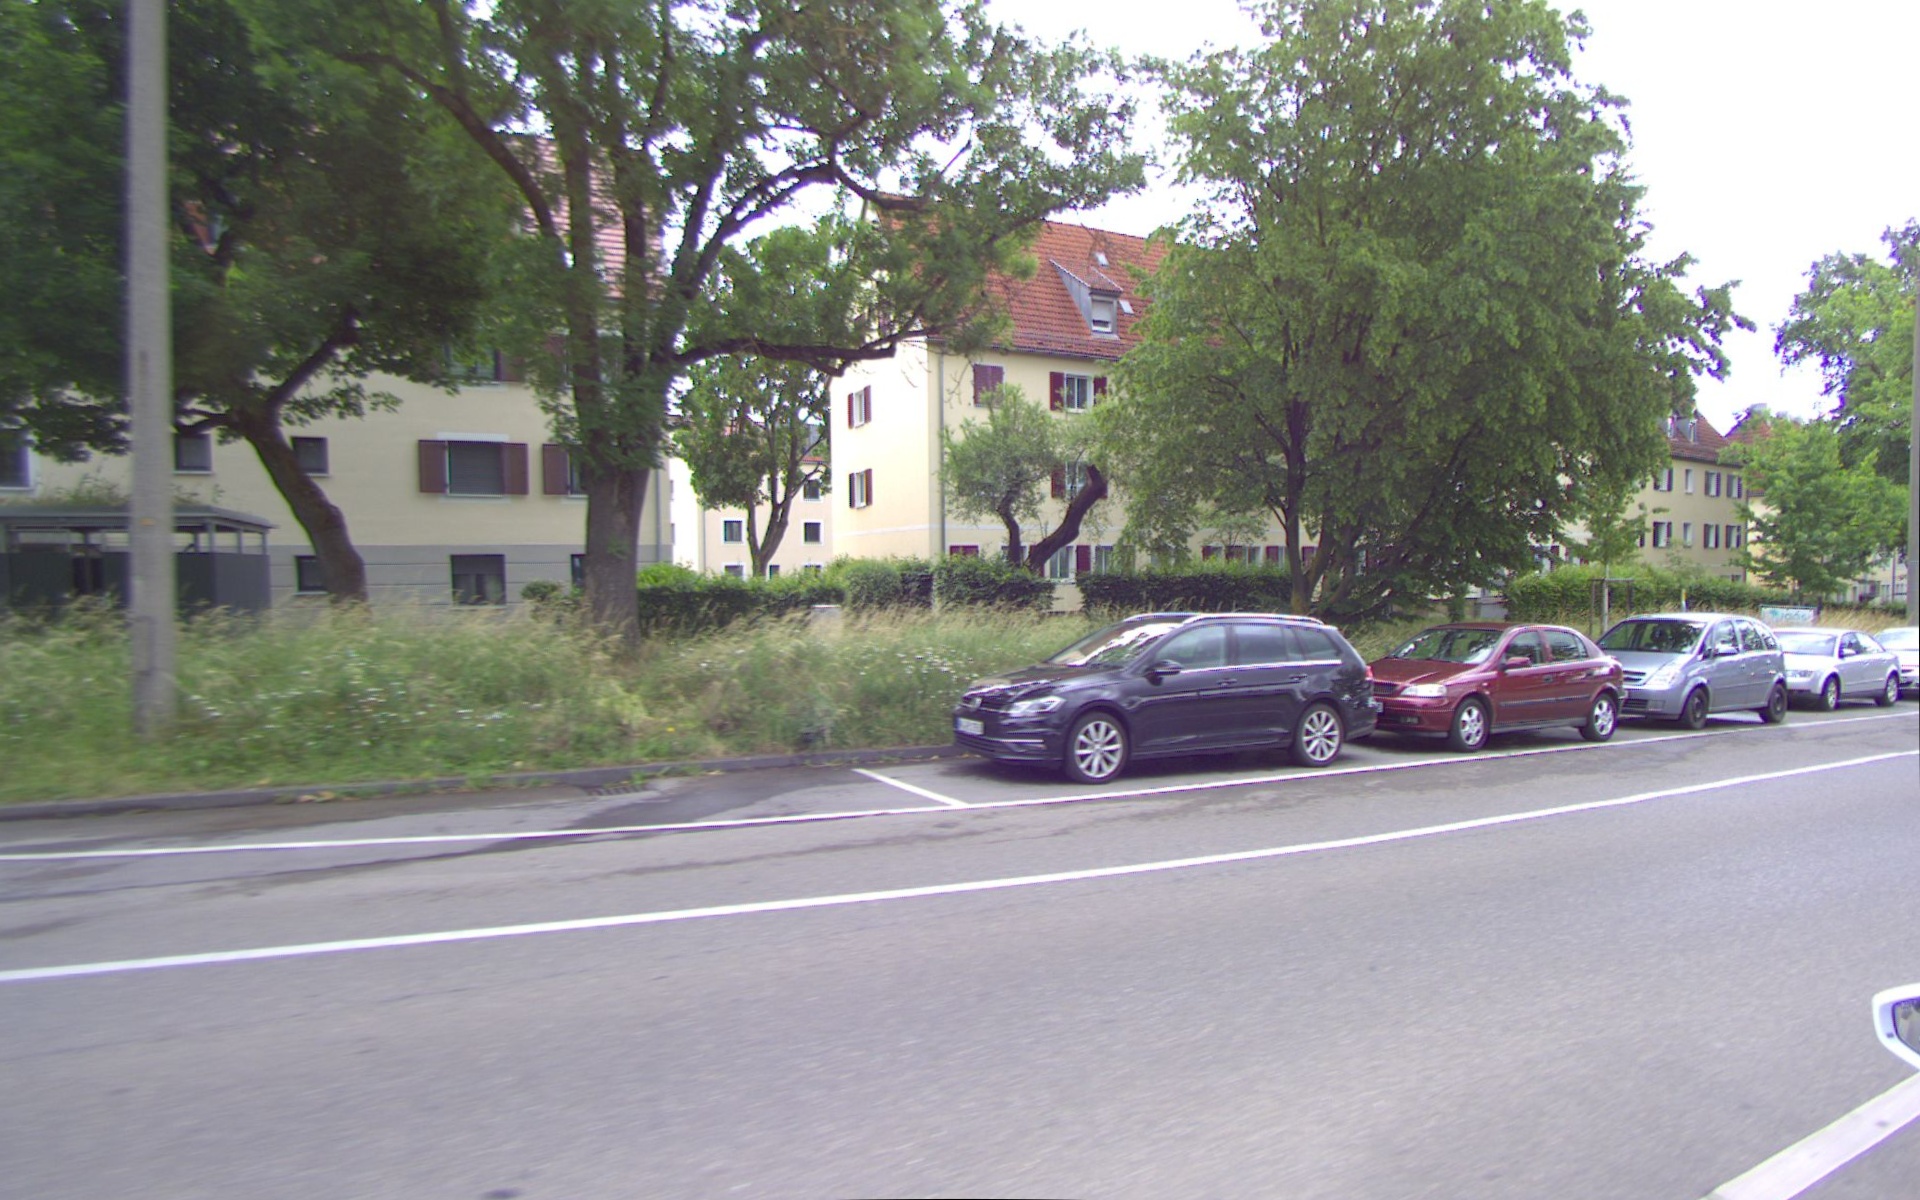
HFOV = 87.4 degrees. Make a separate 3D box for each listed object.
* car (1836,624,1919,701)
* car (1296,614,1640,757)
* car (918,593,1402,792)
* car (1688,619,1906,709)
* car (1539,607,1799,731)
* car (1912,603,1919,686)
[{"bbox_3d":[20.430,1.282,21.528,3.911,1.452,1.624,1,1,-36],"label":"car"},{"bbox_3d":[6.263,0.938,12.318,4.098,1.467,1.760,1,0,-29],"label":"car"},{"bbox_3d":[2.061,0.791,10.031,4.592,1.591,1.868,1,0,-28],"label":"car"},{"bbox_3d":[15.643,1.136,18.727,4.305,1.515,1.760,1,-1,-30],"label":"car"},{"bbox_3d":[10.719,0.946,15.121,4.088,1.613,1.758,1,0,-32],"label":"car"},{"bbox_3d":[25.452,1.109,24.627,5.096,1.957,1.758,1,1,-31],"label":"car"}]
